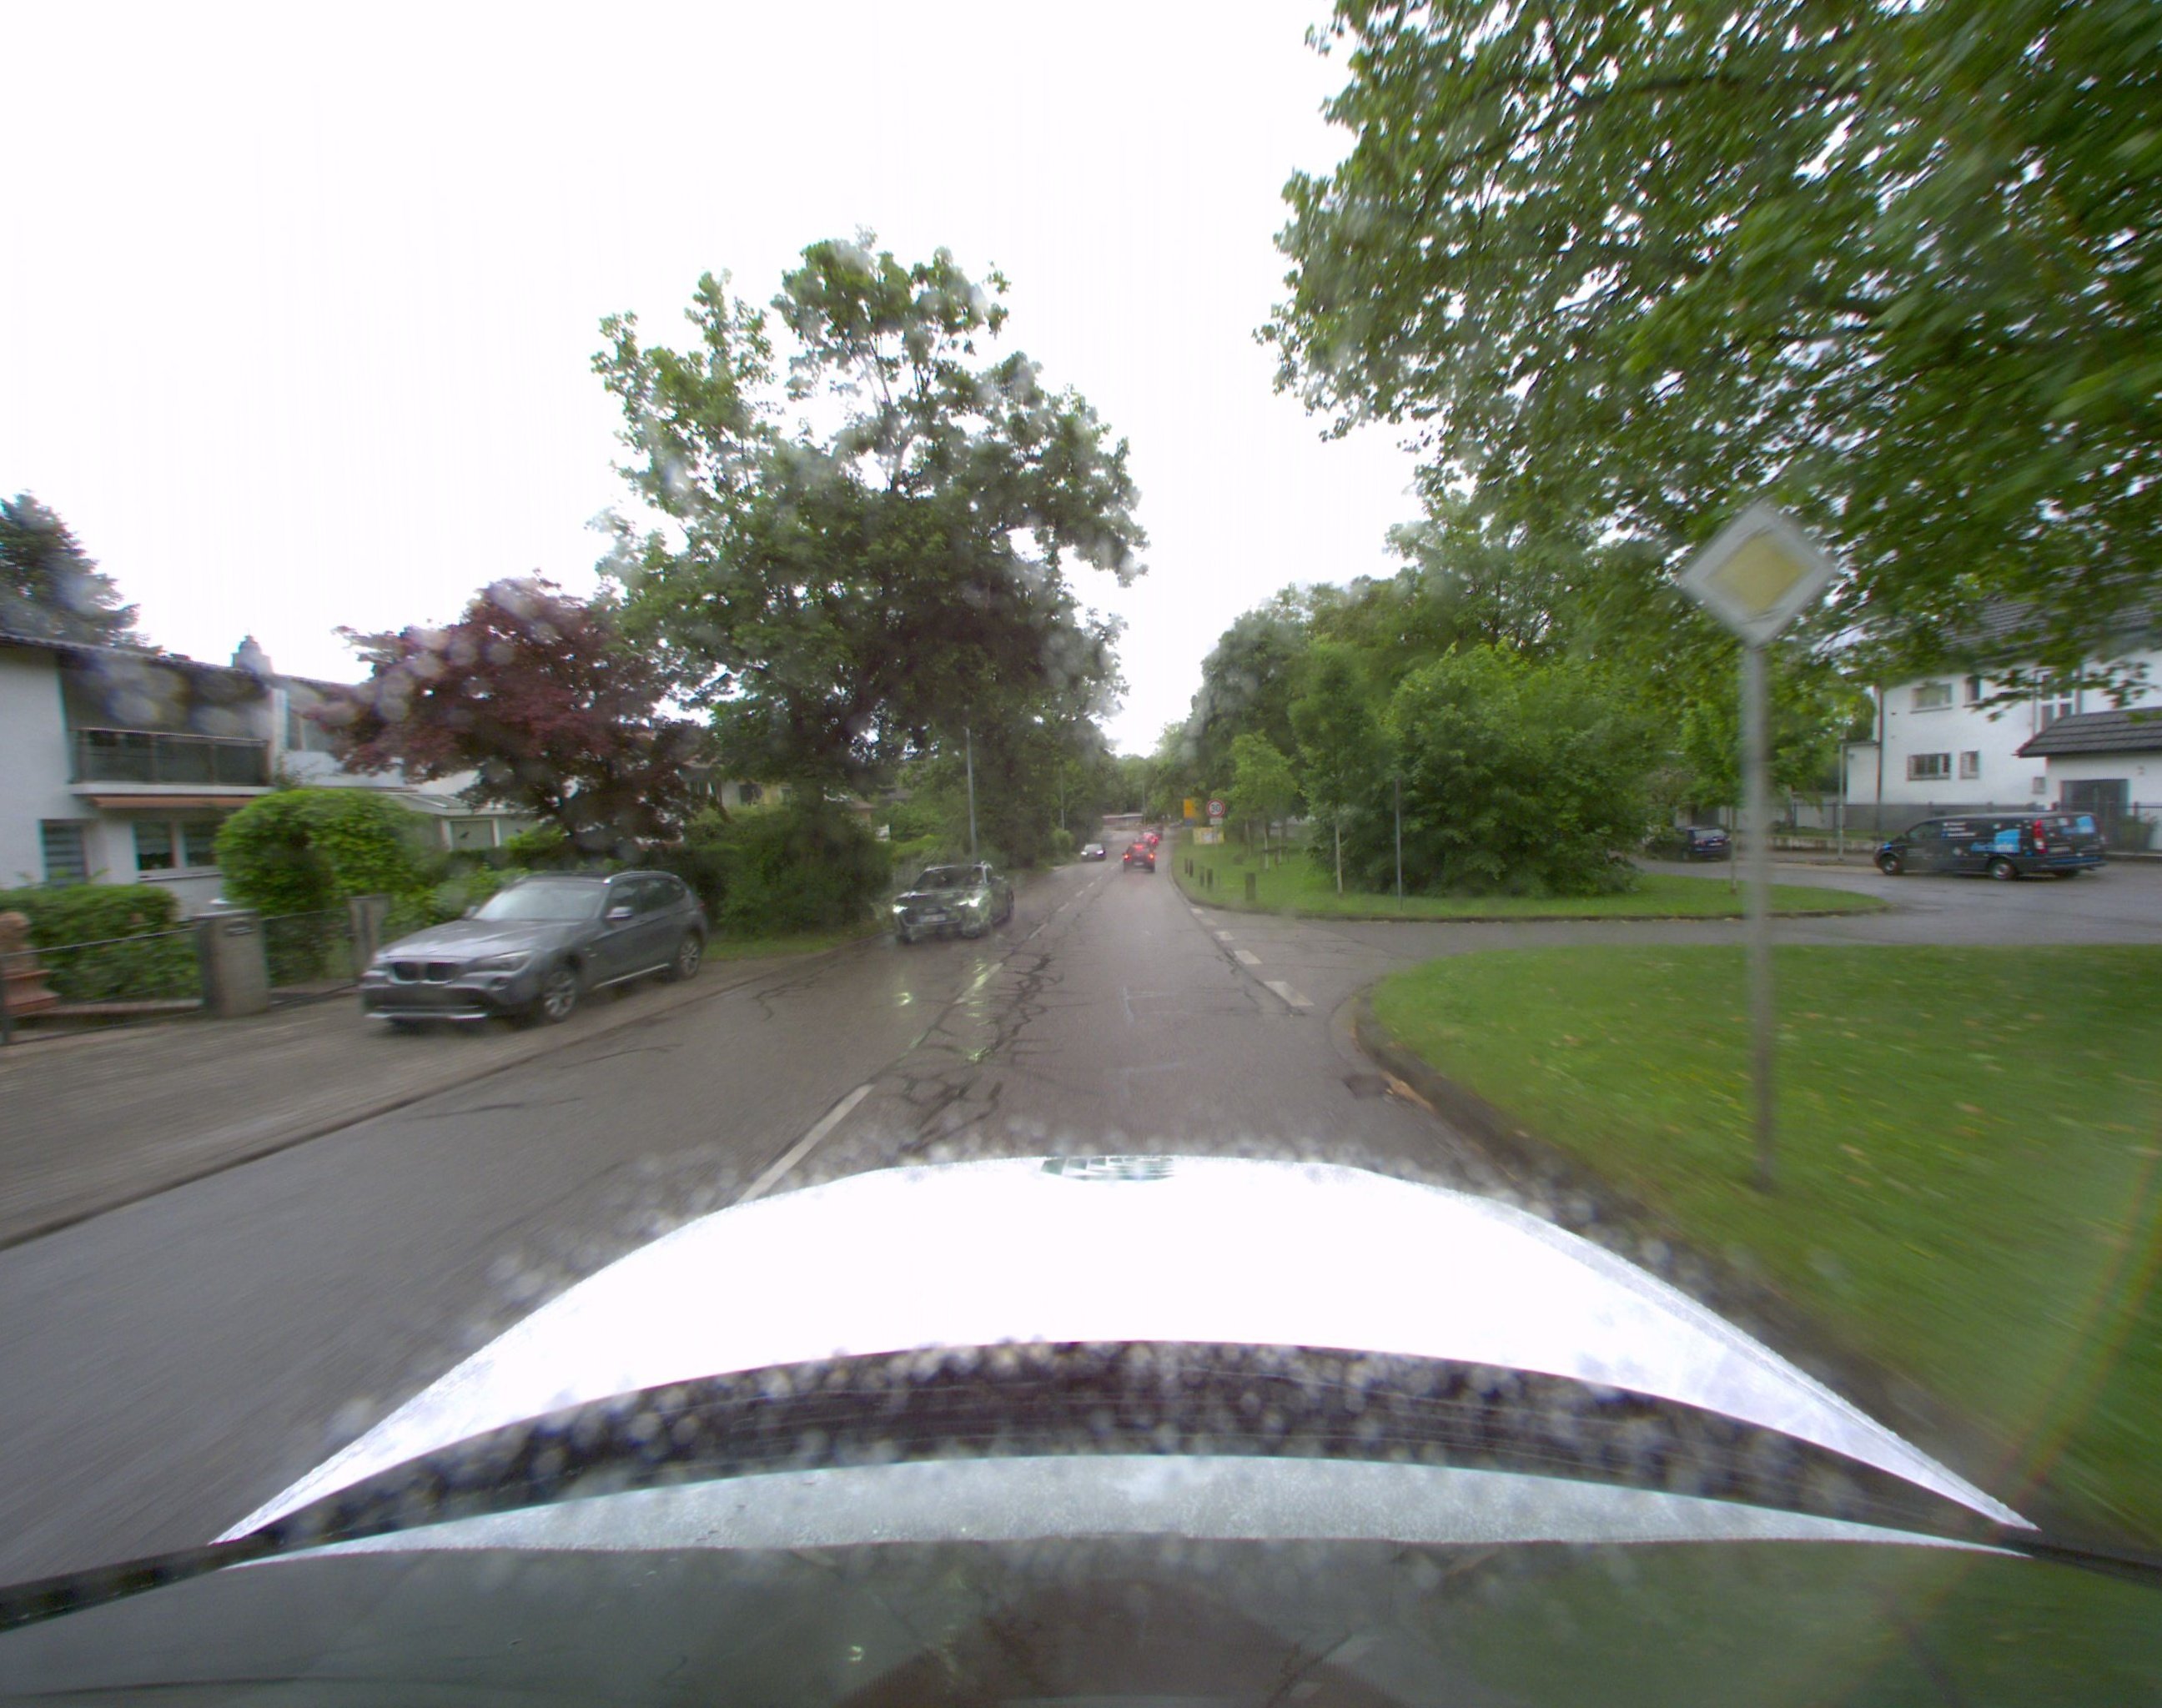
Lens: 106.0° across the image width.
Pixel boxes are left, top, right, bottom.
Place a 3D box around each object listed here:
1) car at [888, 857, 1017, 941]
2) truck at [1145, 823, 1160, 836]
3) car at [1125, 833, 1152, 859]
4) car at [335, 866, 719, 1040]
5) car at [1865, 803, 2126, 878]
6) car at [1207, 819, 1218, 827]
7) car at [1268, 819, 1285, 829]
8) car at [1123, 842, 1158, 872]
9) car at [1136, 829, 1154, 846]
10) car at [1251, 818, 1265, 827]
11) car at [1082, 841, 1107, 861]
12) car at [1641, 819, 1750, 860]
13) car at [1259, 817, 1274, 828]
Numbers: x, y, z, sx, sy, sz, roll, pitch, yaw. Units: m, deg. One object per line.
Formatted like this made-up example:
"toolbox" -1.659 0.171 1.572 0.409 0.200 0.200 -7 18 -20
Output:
"car" -2.525 0.832 17.102 1.683 1.396 4.494 -5 0 3
"truck" 12.108 -4.168 137.769 2.405 2.004 5.159 -3 2 5
"car" 4.548 -0.635 63.678 1.846 1.784 4.008 -3 2 6
"car" -6.264 0.982 9.945 1.657 1.542 4.286 1 1 1
"car" 26.797 -0.414 24.228 2.150 1.878 5.074 -3 1 3
"car" 25.814 -6.065 159.593 1.794 1.385 4.008 -5 3 6
"car" 30.347 -4.640 126.381 1.610 1.409 4.012 -4 3 1
"car" 3.351 0.146 45.399 1.789 1.515 3.761 -1 2 6
"car" 7.298 -1.875 92.244 1.846 1.784 4.008 -3 2 6
"car" 31.834 -5.742 146.247 1.794 1.411 4.117 -4 3 3
"car" 1.139 -0.281 67.351 1.746 1.363 4.330 -4 2 4
"car" 27.233 -0.637 36.288 1.894 1.624 4.038 -3 1 3
"car" 30.533 -5.164 134.155 1.794 1.529 4.117 -4 3 3
